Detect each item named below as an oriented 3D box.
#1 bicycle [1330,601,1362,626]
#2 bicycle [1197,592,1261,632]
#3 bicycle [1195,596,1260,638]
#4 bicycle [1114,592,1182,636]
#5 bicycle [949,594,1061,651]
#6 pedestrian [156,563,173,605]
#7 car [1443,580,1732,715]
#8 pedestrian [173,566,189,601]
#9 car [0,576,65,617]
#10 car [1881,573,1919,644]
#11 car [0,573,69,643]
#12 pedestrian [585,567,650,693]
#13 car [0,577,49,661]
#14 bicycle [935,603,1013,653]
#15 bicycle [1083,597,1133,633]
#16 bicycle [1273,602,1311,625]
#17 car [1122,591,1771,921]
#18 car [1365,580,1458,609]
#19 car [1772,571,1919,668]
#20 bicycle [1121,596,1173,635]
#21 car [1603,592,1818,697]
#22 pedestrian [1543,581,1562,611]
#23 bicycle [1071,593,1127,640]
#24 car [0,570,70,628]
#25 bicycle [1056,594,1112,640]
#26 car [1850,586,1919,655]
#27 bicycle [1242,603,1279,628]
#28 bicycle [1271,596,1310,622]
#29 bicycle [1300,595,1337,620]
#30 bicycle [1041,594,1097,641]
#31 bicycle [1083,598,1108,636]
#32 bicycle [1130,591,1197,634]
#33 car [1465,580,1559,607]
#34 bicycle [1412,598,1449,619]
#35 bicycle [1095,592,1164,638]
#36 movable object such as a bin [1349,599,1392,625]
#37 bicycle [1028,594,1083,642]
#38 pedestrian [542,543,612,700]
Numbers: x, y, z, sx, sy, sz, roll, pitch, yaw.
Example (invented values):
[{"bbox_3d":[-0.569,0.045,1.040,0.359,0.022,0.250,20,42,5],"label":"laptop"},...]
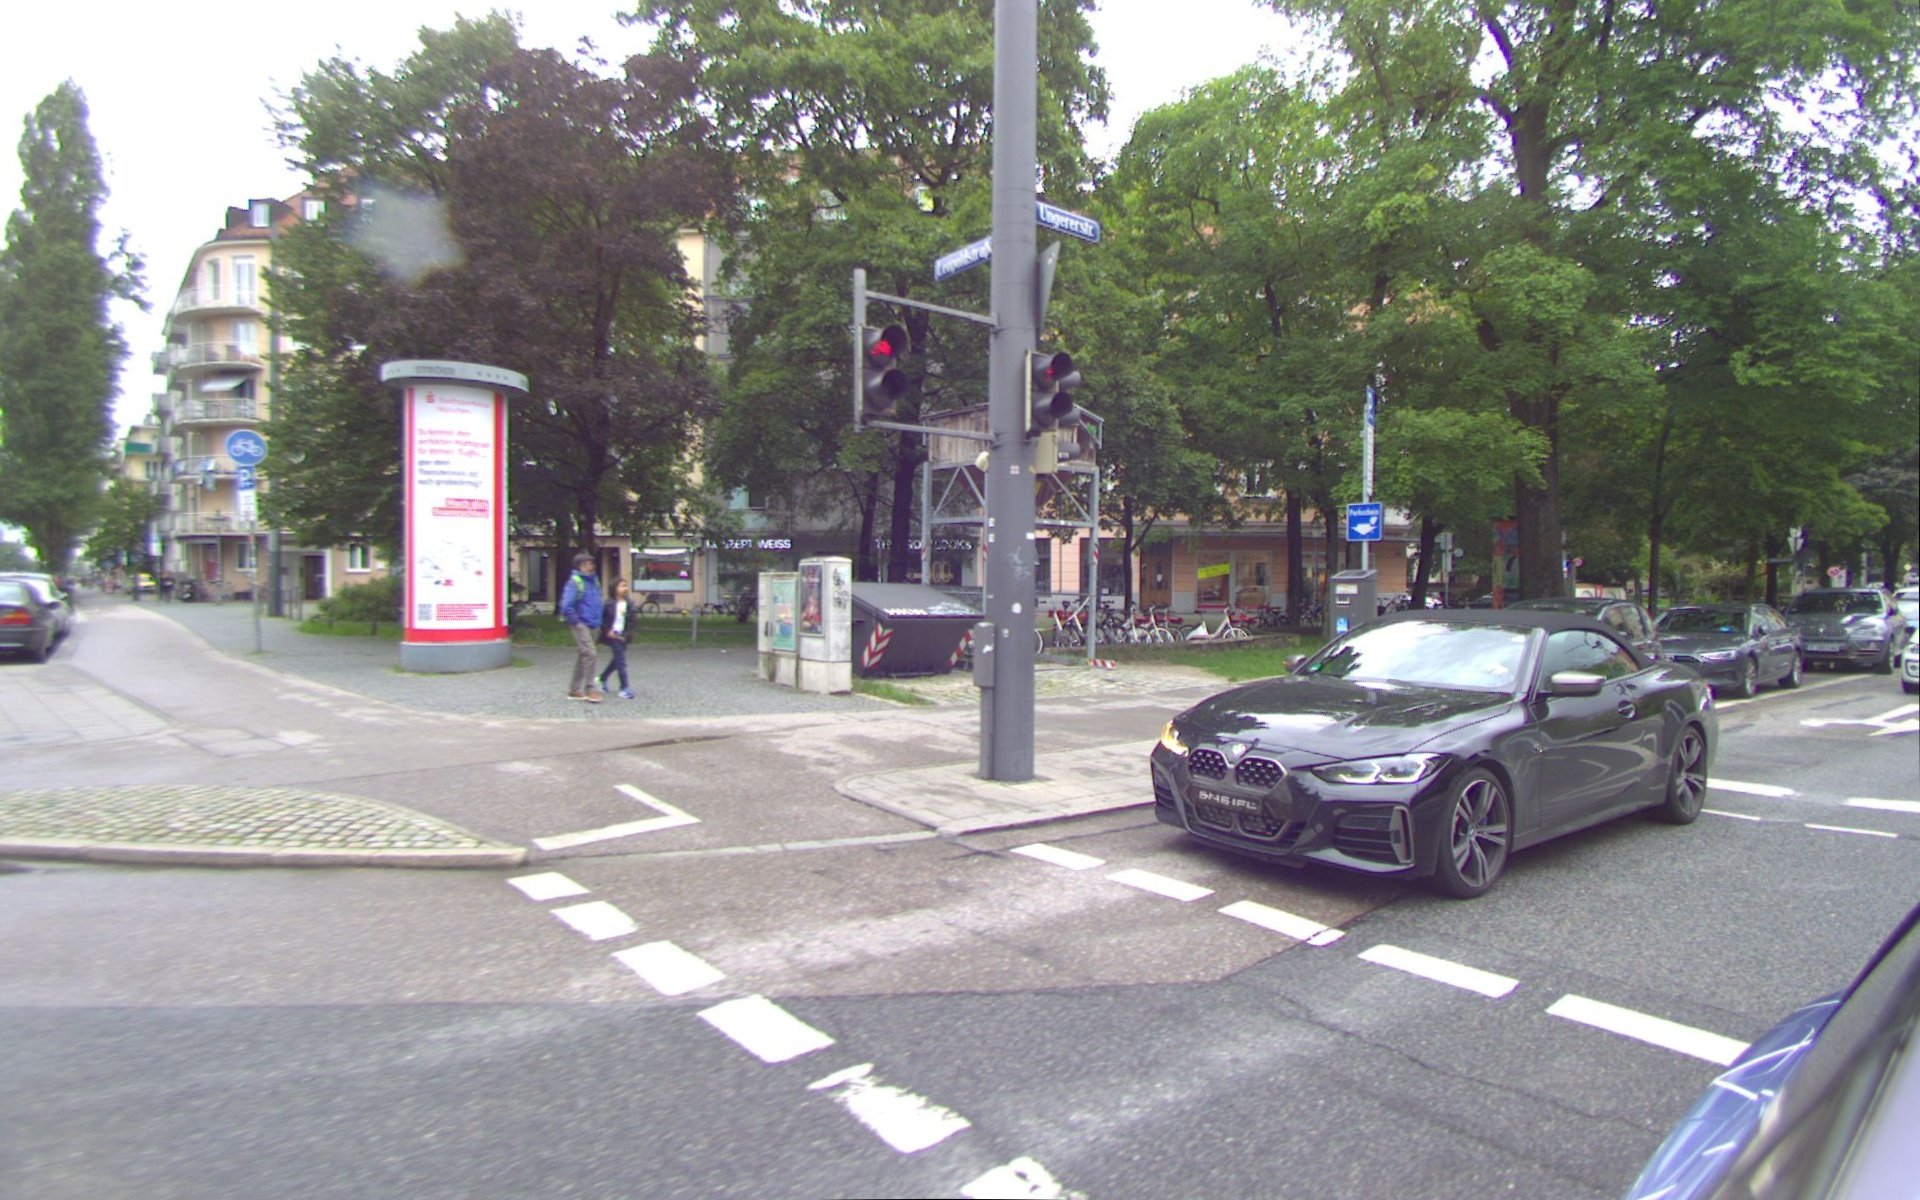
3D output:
[{"bbox_3d":[11.788,0.413,30.917,0.312,0.732,1.181,-1,0,-11],"label":"bicycle"},{"bbox_3d":[6.206,0.276,23.359,1.393,0.905,0.311,-1,0,17],"label":"bicycle"},{"bbox_3d":[6.001,0.386,22.719,1.393,0.905,0.311,-1,0,17],"label":"bicycle"},{"bbox_3d":[3.979,0.292,21.492,1.399,0.905,0.310,0,1,28],"label":"bicycle"},{"bbox_3d":[0.822,0.416,19.173,2.231,1.029,0.621,-1,0,43],"label":"bicycle"},{"bbox_3d":[-38.991,-0.777,49.620,0.629,2.039,0.538,-1,0,44],"label":"pedestrian"},{"bbox_3d":[8.688,0.527,13.876,4.469,1.568,1.836,0,1,-36],"label":"car"},{"bbox_3d":[-38.516,-0.819,50.033,0.650,1.686,0.538,-1,0,44],"label":"pedestrian"},{"bbox_3d":[-34.988,-0.174,38.234,1.701,1.424,4.468,-1,2,-41],"label":"car"},{"bbox_3d":[27.595,0.216,28.282,4.931,1.879,1.849,0,1,-37],"label":"car"},{"bbox_3d":[-20.951,0.113,22.486,1.701,1.424,4.368,-1,2,-41],"label":"car"},{"bbox_3d":[-4.064,0.331,11.990,0.535,1.421,0.721,-1,3,-38],"label":"pedestrian"},{"bbox_3d":[-16.924,0.277,17.474,1.701,1.332,3.994,-1,2,-41],"label":"car"},{"bbox_3d":[0.248,0.509,18.506,1.383,0.905,0.314,0,-1,-11],"label":"bicycle"},{"bbox_3d":[3.850,0.379,26.204,1.385,0.905,0.313,-1,0,-32],"label":"bicycle"},{"bbox_3d":[10.676,0.428,32.502,1.154,0.733,0.319,-1,0,-15],"label":"bicycle"},{"bbox_3d":[3.344,0.666,6.509,4.708,1.407,1.729,0,1,-36],"label":"car"},{"bbox_3d":[24.590,-0.303,55.244,1.823,1.485,4.448,-1,0,-27],"label":"car"},{"bbox_3d":[18.919,0.327,21.438,4.476,1.842,1.935,-1,1,-41],"label":"car"},{"bbox_3d":[4.586,0.371,24.828,1.385,0.905,0.313,-1,0,-32],"label":"bicycle"},{"bbox_3d":[12.429,0.621,16.651,4.559,1.479,1.772,-1,1,-39],"label":"car"},{"bbox_3d":[31.520,-0.228,53.834,0.631,1.572,0.603,-1,0,-31],"label":"pedestrian"},{"bbox_3d":[2.796,0.325,20.532,0.307,0.905,1.414,-1,0,-30],"label":"bicycle"},{"bbox_3d":[-24.589,-0.073,26.659,1.701,1.424,4.368,-1,2,-41],"label":"car"},{"bbox_3d":[2.471,0.333,20.329,0.307,0.905,1.414,-1,0,-30],"label":"bicycle"},{"bbox_3d":[23.084,0.450,24.569,3.594,1.568,1.524,0,1,-37],"label":"car"},{"bbox_3d":[9.180,0.472,30.938,0.312,0.732,1.180,-1,0,-28],"label":"bicycle"},{"bbox_3d":[9.718,0.260,29.802,0.312,0.732,1.180,-1,0,-28],"label":"bicycle"},{"bbox_3d":[10.641,0.219,30.012,1.155,0.732,0.319,-1,0,-26],"label":"bicycle"},{"bbox_3d":[2.152,0.342,20.129,0.307,0.905,1.414,-1,0,-30],"label":"bicycle"},{"bbox_3d":[3.311,0.400,24.776,0.307,0.905,1.413,-1,0,-4],"label":"bicycle"},{"bbox_3d":[4.476,0.276,22.272,1.393,0.905,0.311,-1,0,17],"label":"bicycle"},{"bbox_3d":[31.363,-0.348,57.644,1.823,1.485,4.448,-1,0,-27],"label":"car"},{"bbox_3d":[16.929,0.293,36.444,1.158,0.733,0.318,-1,0,7],"label":"bicycle"},{"bbox_3d":[3.456,0.309,20.712,1.405,0.905,0.309,-1,0,39],"label":"bicycle"},{"bbox_3d":[14.412,0.409,35.511,0.758,0.883,1.183,0,1,-29],"label":"movable object such as a bin"},{"bbox_3d":[1.863,0.349,19.966,0.307,0.905,1.414,-1,0,-30],"label":"bicycle"},{"bbox_3d":[-4.330,0.211,11.422,0.535,1.680,0.721,-1,5,-38],"label":"pedestrian"}]
